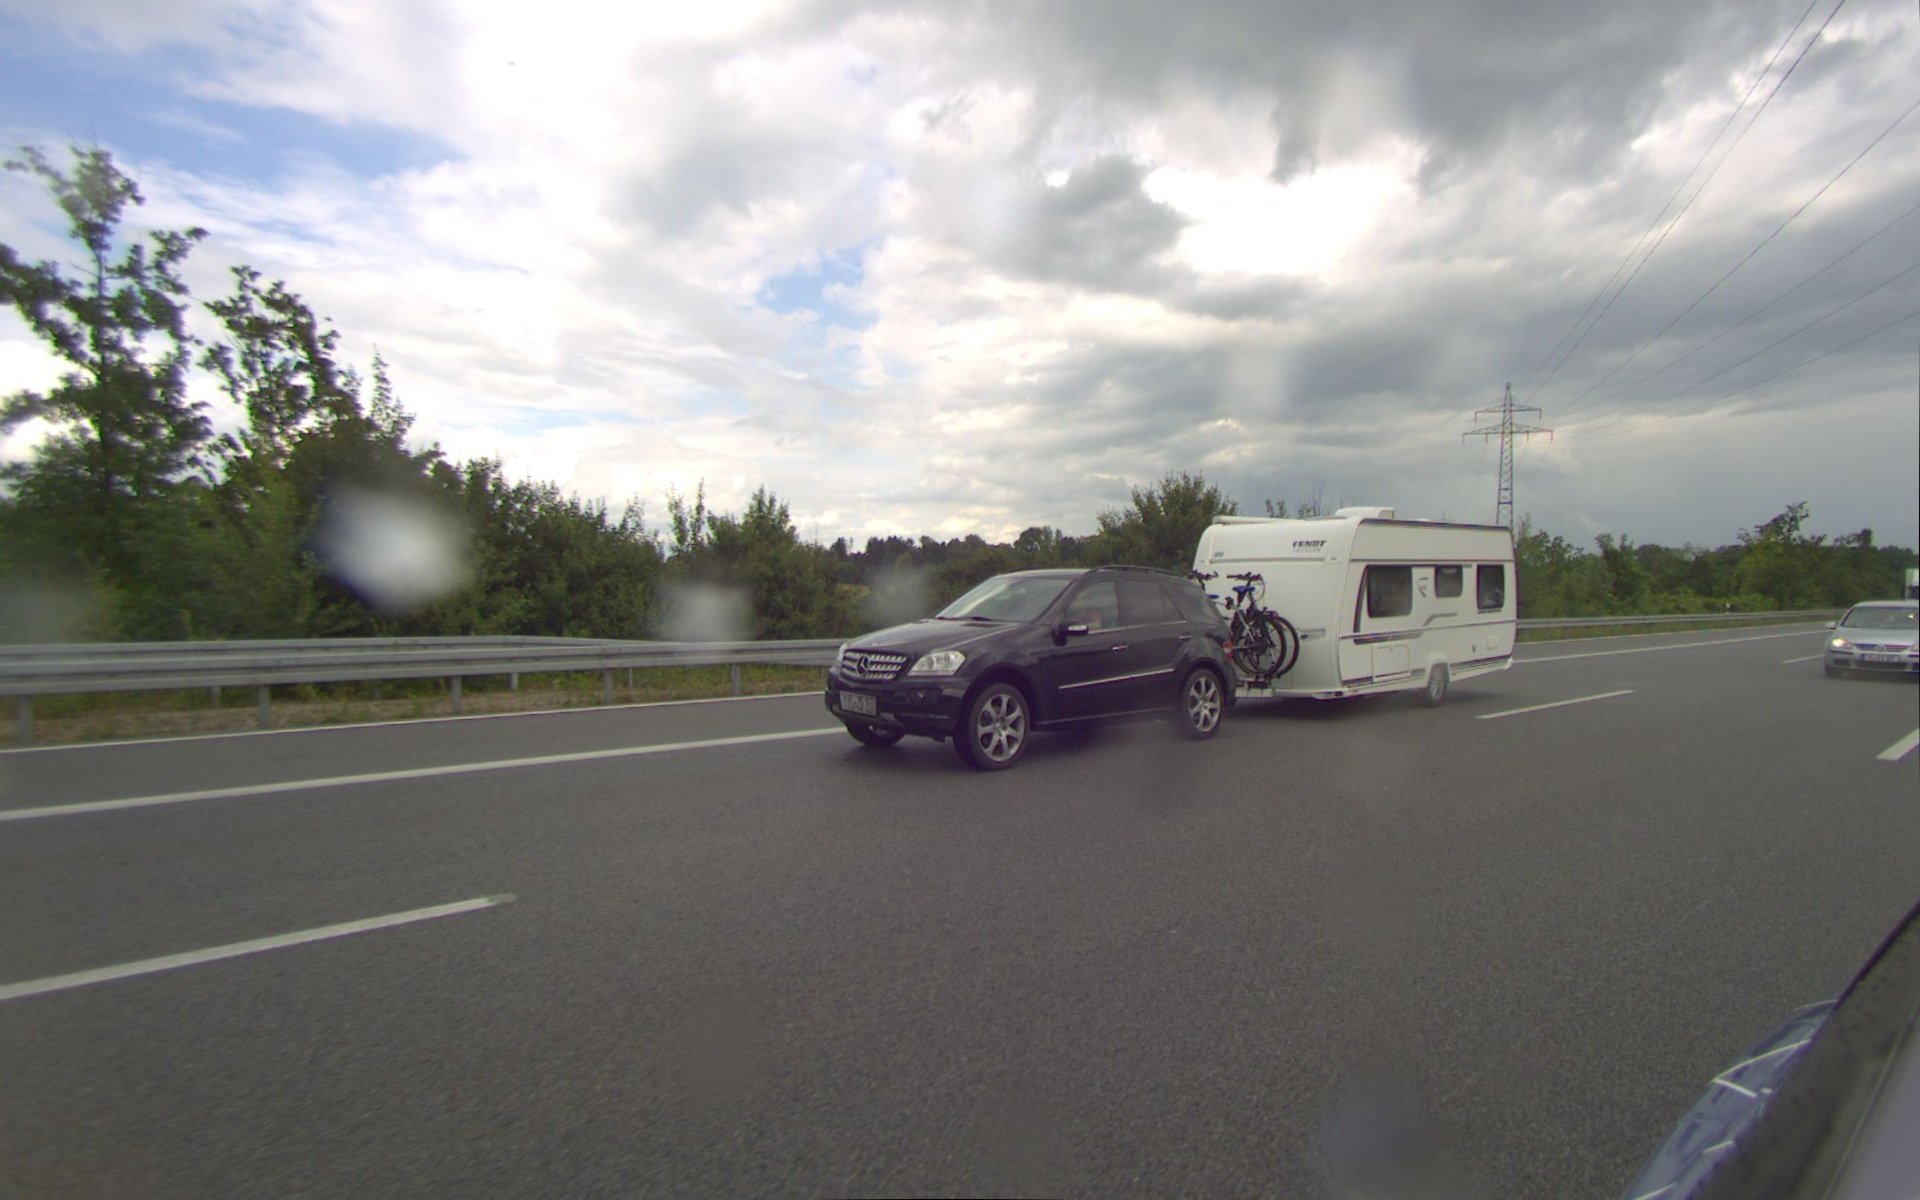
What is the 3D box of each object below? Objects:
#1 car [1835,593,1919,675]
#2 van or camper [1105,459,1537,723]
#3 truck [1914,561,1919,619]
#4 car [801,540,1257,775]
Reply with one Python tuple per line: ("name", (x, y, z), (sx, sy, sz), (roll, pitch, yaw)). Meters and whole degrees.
("car", (18.368, 0.599, 19.544), (3.930, 1.464, 1.682), (0, 1, -41))
("van or camper", (5.242, -0.110, 13.864), (7.082, 2.773, 2.388), (0, 0, -41))
("truck", (64.767, -0.650, 65.869), (9.426, 3.700, 2.868), (0, 0, -41))
("car", (0.839, 0.421, 9.954), (4.423, 1.798, 1.923), (0, 0, -41))
